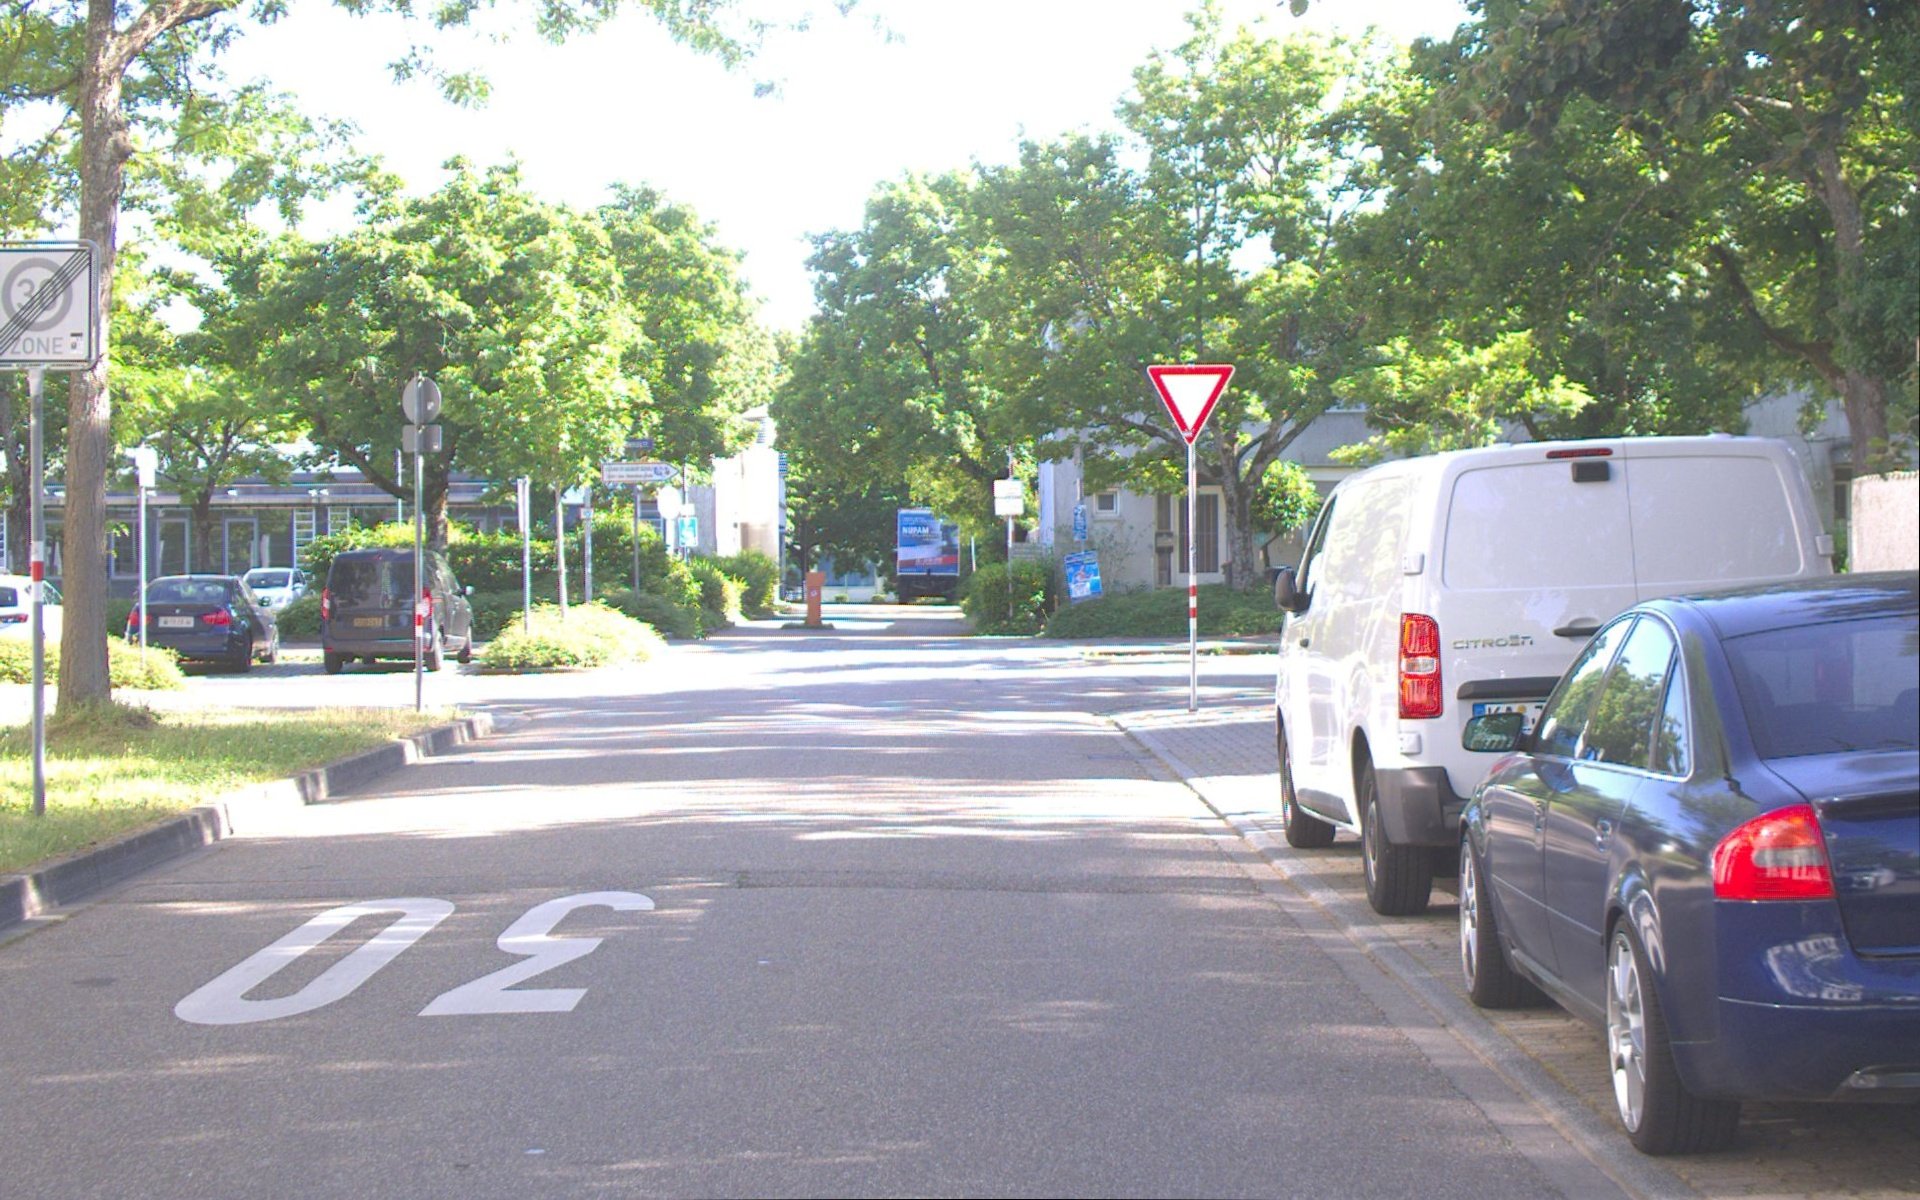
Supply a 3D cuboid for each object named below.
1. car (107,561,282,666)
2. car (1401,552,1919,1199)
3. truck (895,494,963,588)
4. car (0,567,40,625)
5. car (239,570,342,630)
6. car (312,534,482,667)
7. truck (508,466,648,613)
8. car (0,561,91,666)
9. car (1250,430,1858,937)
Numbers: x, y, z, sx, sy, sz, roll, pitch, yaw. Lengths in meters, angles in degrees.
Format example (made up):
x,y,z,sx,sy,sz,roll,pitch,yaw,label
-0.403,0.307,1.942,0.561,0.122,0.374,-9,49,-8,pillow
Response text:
x,y,z,sx,sy,sz,roll,pitch,yaw,label
-11.428,0.167,51.566,1.823,1.401,4.169,-1,2,-2,car
2.454,0.632,9.646,1.825,1.418,4.283,-4,1,0,car
-1.265,-2.494,146.399,2.760,3.856,9.330,1,1,0,truck
-25.927,-0.113,91.315,1.836,1.492,3.908,0,1,2,car
-17.700,-0.015,91.017,1.836,1.492,3.908,0,1,2,car
-8.436,-0.030,51.819,1.874,1.840,4.169,-1,2,0,car
-10.252,-1.633,92.922,2.802,3.793,6.924,1,1,1,truck
-14.432,0.174,51.776,1.802,1.431,3.913,0,2,-2,car
2.498,0.284,15.765,1.898,1.907,5.148,-1,1,0,car
